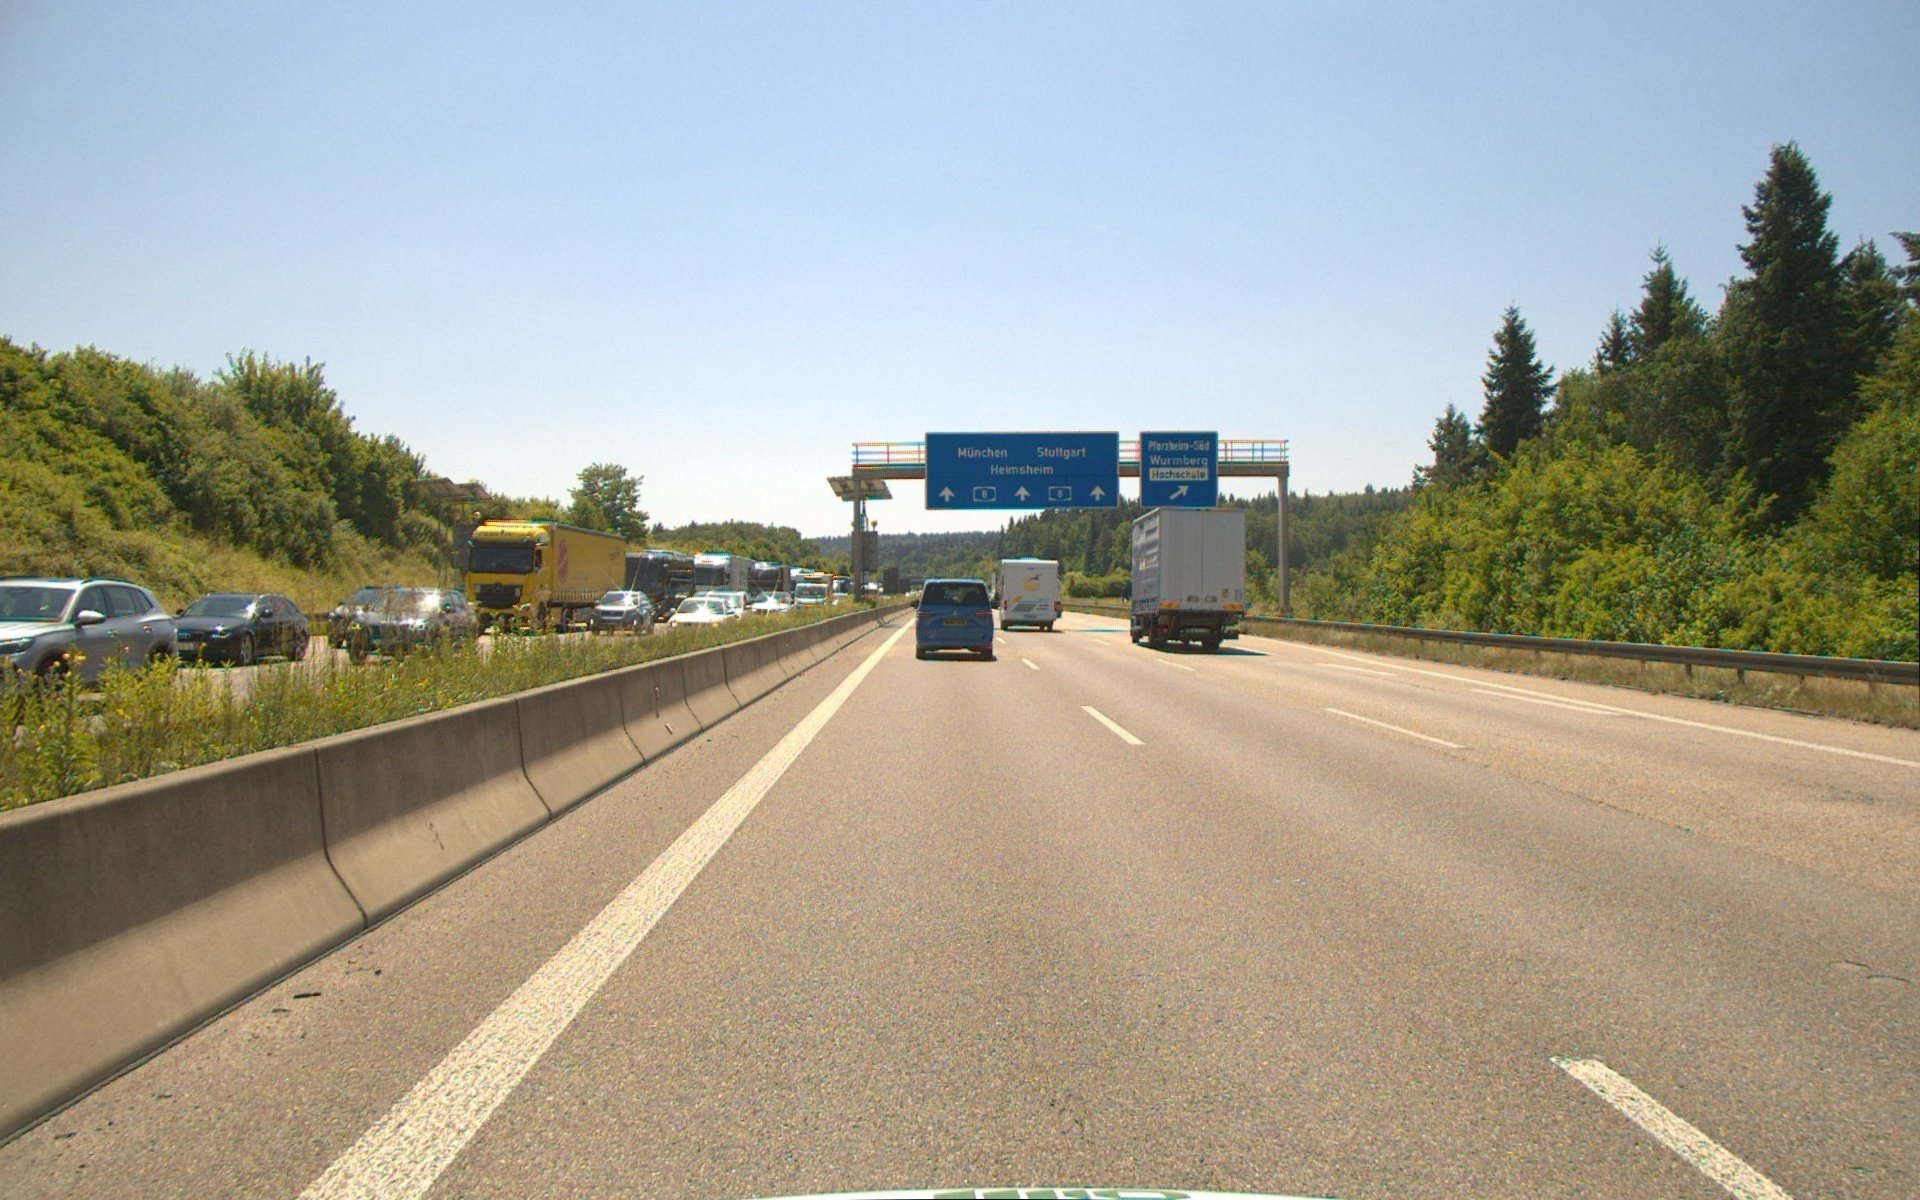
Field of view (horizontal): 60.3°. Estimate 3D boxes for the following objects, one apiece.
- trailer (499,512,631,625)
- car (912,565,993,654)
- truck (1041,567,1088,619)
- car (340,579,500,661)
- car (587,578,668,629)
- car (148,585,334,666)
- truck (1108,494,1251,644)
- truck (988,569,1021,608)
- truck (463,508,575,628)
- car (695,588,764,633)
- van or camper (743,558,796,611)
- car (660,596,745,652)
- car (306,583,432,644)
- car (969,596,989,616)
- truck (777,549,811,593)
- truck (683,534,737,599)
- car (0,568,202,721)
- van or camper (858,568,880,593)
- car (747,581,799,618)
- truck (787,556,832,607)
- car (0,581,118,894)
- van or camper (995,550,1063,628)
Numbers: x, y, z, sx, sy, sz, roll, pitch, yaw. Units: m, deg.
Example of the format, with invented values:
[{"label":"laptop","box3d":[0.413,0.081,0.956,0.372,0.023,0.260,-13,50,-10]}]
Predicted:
[{"label":"trailer","box3d":[-16.121,-1.186,68.443,2.596,4.217,11.854,1,0,0]},{"label":"car","box3d":[-0.219,0.217,40.530,1.870,2.049,3.999,-1,0,-1]},{"label":"truck","box3d":[7.640,-0.557,122.362,2.868,3.637,8.526,-1,1,0]},{"label":"car","box3d":[-11.750,0.414,36.382,1.774,1.657,5.381,1,0,0]},{"label":"car","box3d":[-12.143,0.128,60.745,1.824,1.783,5.901,1,0,0]},{"label":"car","box3d":[-14.781,0.498,34.316,1.774,1.539,4.797,1,0,0]},{"label":"truck","box3d":[6.623,-0.862,51.436,2.727,4.200,9.735,1,0,-3]},{"label":"truck","box3d":[5.010,-1.272,187.013,3.416,4.243,8.640,1,0,-1]},{"label":"truck","box3d":[-16.086,-1.113,60.715,2.549,4.135,6.131,1,0,-1]},{"label":"car","box3d":[-8.234,0.369,59.501,1.774,1.539,5.029,1,0,0]},{"label":"van or camper","box3d":[-12.737,-0.999,111.199,2.477,3.418,7.944,1,0,1]},{"label":"car","box3d":[-7.533,0.684,48.740,1.774,1.539,4.817,1,0,0]},{"label":"car","box3d":[-15.891,0.339,44.736,1.774,1.539,4.600,1,0,-1]},{"label":"car","box3d":[1.757,0.560,152.895,1.781,1.825,3.894,1,0,-1]},{"label":"truck","box3d":[-16.379,-2.861,163.369,2.744,4.200,6.140,1,0,-1]},{"label":"truck","box3d":[-16.752,-2.204,111.275,2.725,4.186,7.027,0,0,-1]},{"label":"car","box3d":[-11.267,0.472,20.191,1.774,1.657,4.908,1,0,0]},{"label":"van or camper","box3d":[-9.631,-2.009,175.373,2.148,2.585,6.415,0,0,-1]},{"label":"car","box3d":[-8.362,-0.018,74.123,1.774,1.539,5.029,1,0,0]},{"label":"truck","box3d":[-8.790,-1.060,97.312,2.077,2.891,6.211,1,0,0]},{"label":"car","box3d":[-6.354,0.776,8.357,1.791,1.795,4.988,1,0,-2]},{"label":"van or camper","box3d":[2.959,-0.553,72.710,2.550,3.131,7.183,1,2,-1]}]
